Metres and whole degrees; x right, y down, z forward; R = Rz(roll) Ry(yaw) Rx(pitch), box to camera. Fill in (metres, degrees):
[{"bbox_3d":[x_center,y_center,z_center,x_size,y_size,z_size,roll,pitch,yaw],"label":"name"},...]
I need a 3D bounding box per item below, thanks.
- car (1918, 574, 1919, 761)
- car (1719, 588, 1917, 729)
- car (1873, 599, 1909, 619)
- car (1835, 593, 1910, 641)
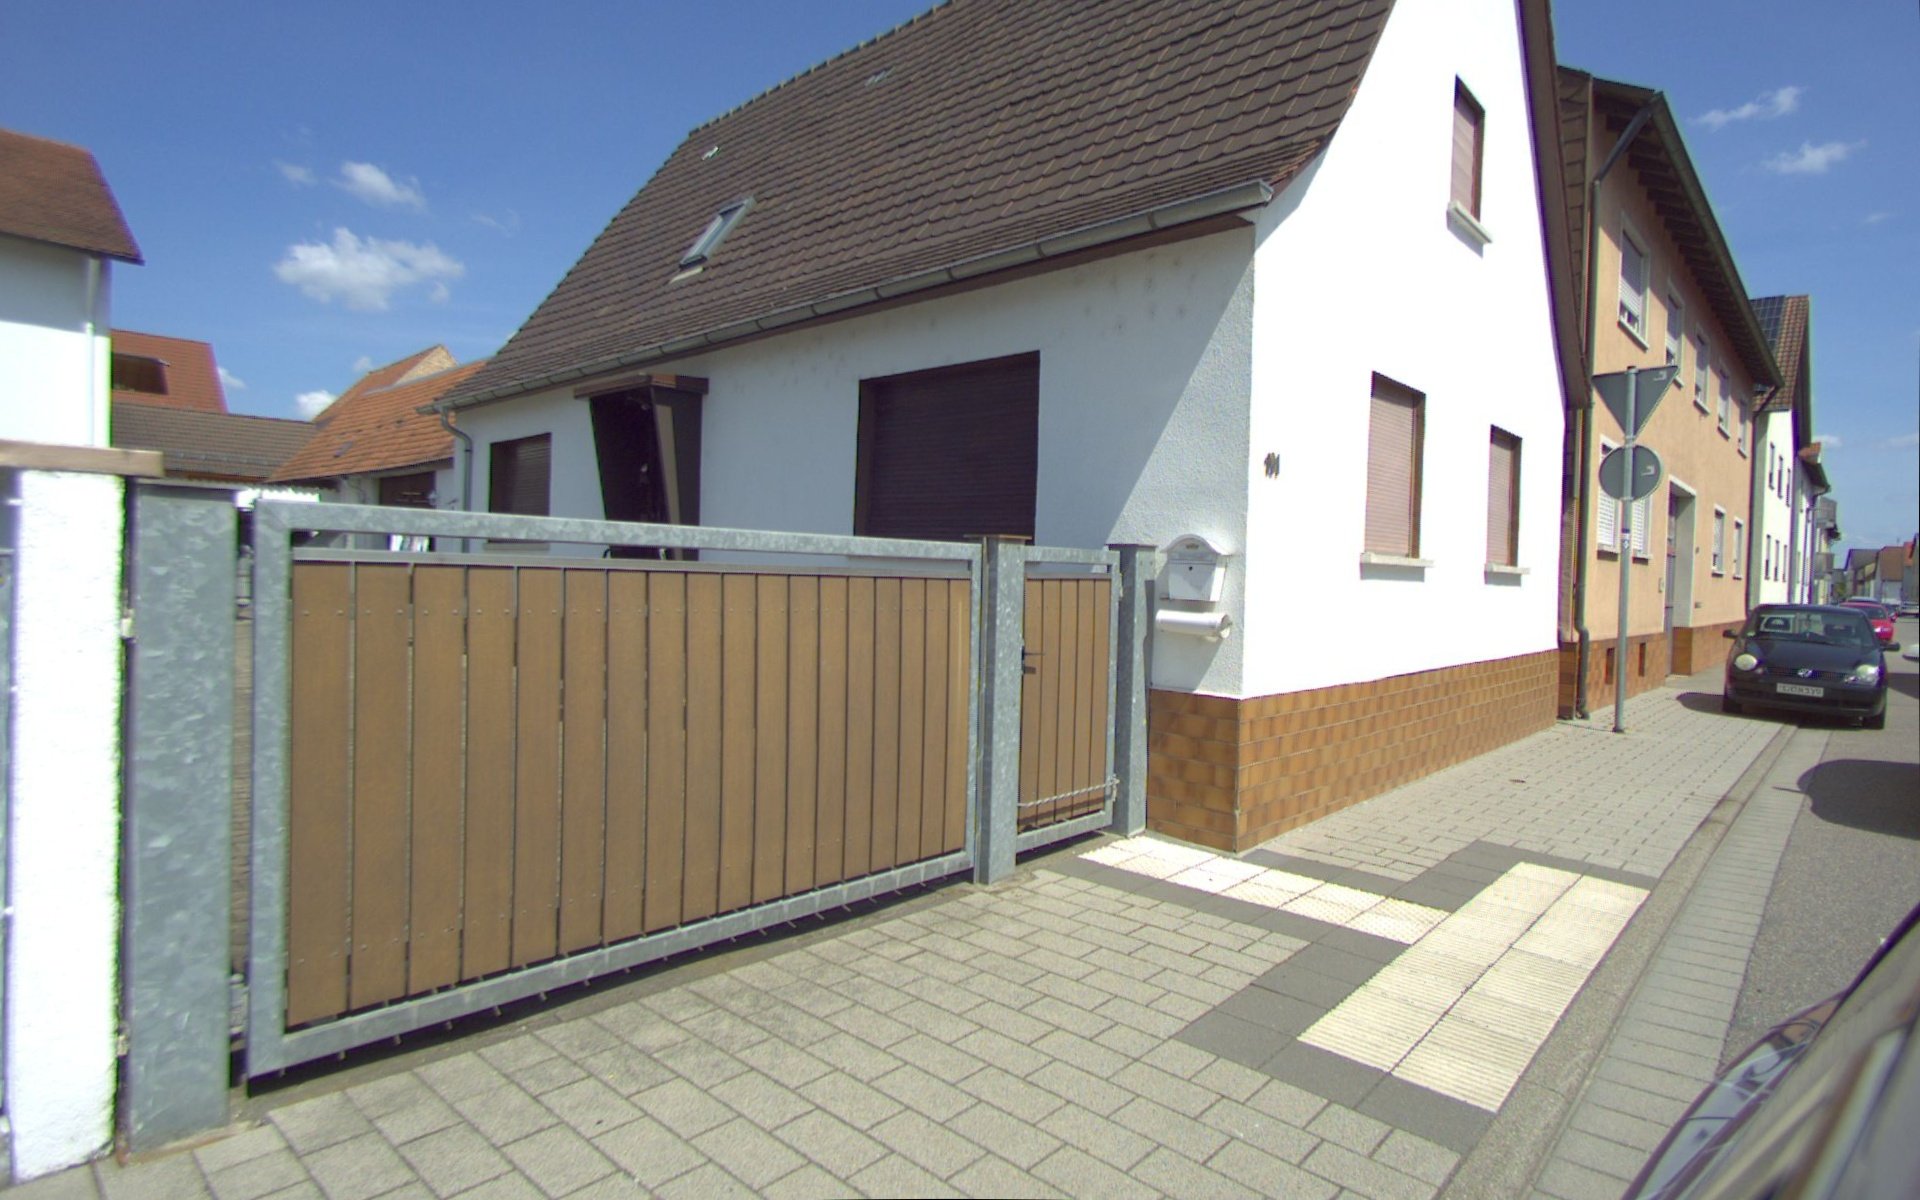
[{"bbox_3d":[8.046,0.611,7.122,1.840,1.666,4.306,0,0,43],"label":"car"},{"bbox_3d":[11.242,0.653,13.245,1.686,1.481,3.573,5,3,42],"label":"car"},{"bbox_3d":[70.651,0.676,76.833,1.758,1.446,4.129,3,2,39],"label":"car"},{"bbox_3d":[30.819,0.538,34.209,1.760,1.446,4.125,3,2,42],"label":"car"}]
